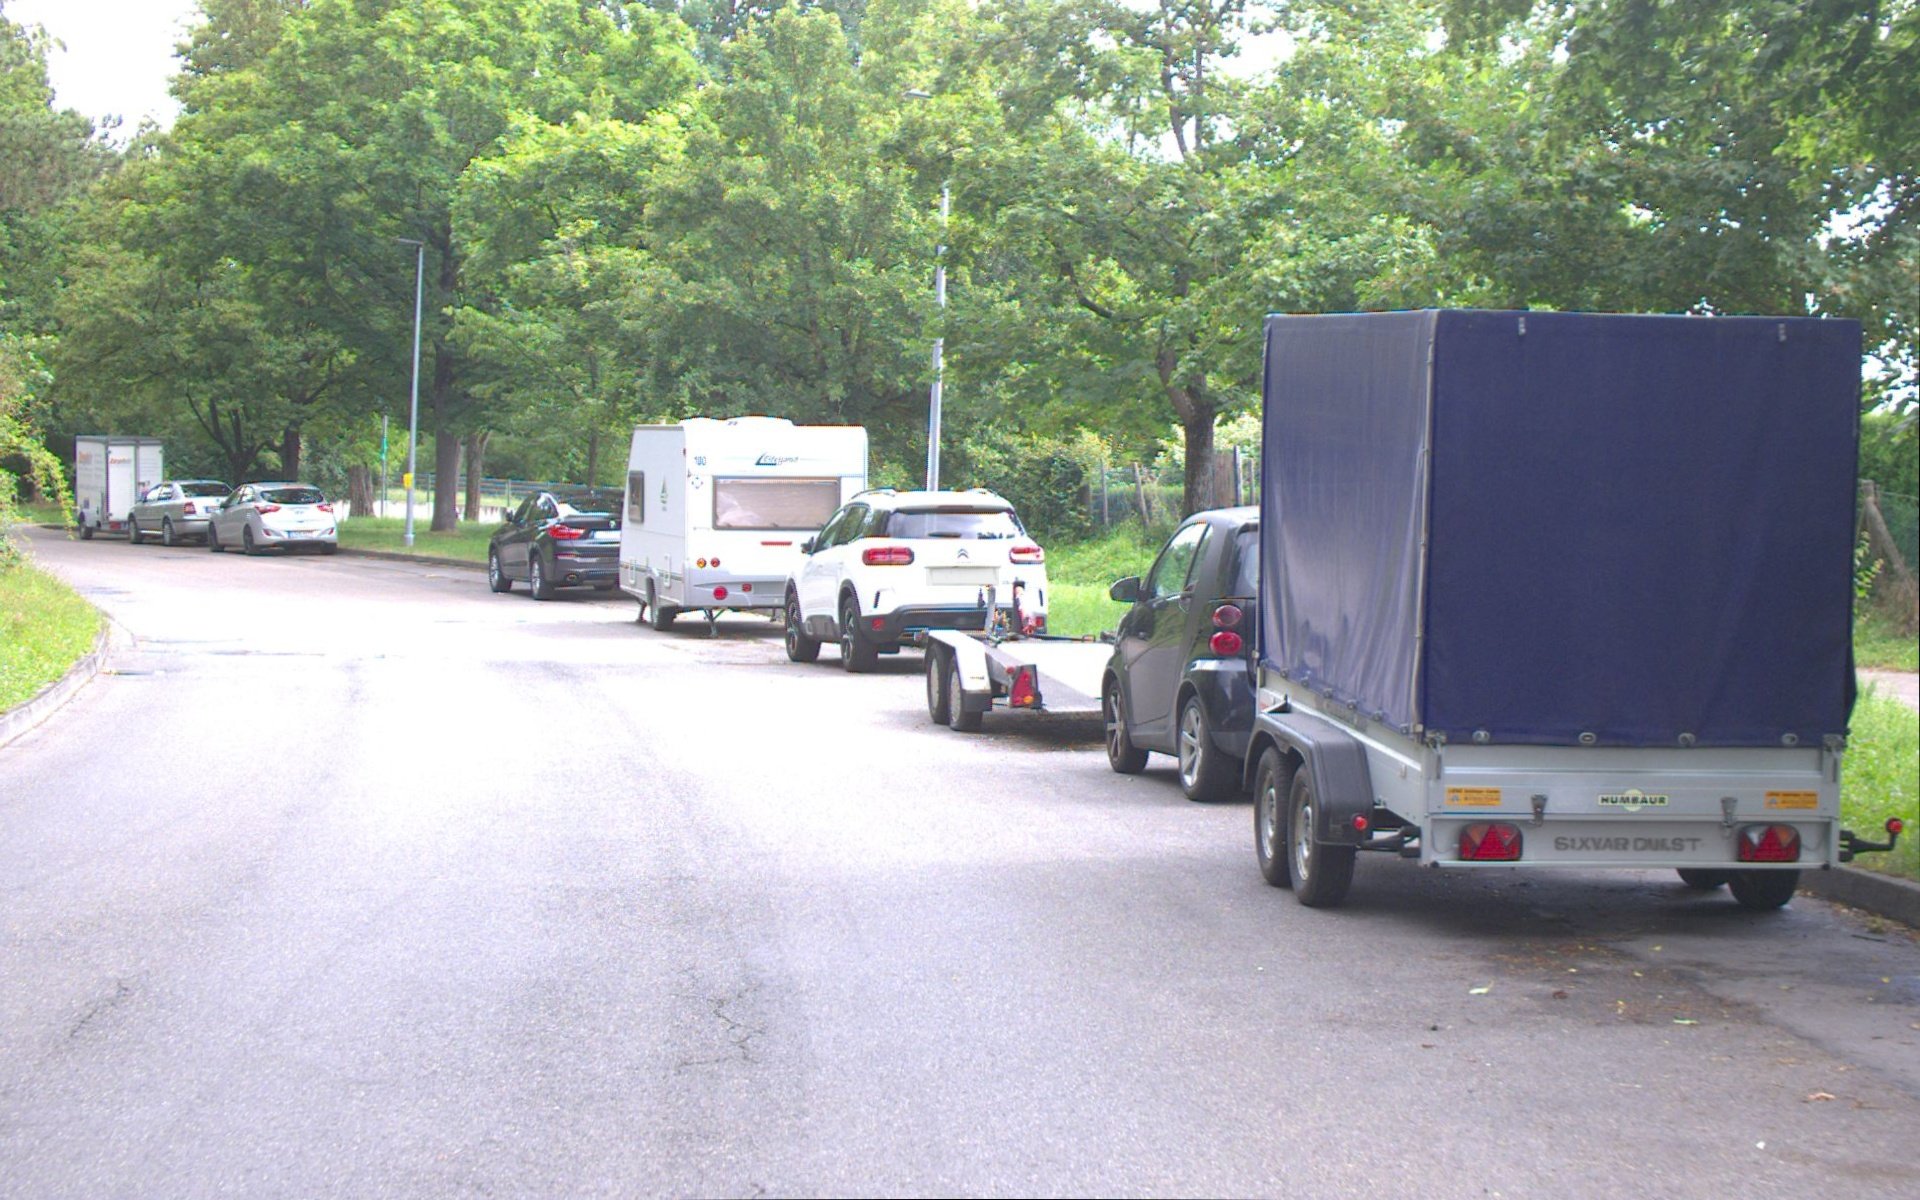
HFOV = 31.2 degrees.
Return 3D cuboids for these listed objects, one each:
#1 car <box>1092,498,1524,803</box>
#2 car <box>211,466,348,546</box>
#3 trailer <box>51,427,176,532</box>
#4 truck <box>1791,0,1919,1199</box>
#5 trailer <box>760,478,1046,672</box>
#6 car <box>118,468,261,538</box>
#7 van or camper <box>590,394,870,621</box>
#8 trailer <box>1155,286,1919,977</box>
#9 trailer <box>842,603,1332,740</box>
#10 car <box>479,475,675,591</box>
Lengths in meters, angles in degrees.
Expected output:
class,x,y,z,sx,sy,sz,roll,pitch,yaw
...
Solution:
class,x,y,z,sx,sy,sz,roll,pitch,yaw
car,1.846,0.257,19.238,1.729,1.517,3.405,1,0,-6
car,-14.016,-1.906,70.620,1.902,1.471,4.060,1,0,-24
trailer,-20.001,-2.860,81.154,1.760,2.418,3.887,-1,3,-32
truck,2.873,0.061,3.198,2.303,2.923,7.034,0,2,-2
trailer,-0.634,-0.273,33.219,1.772,1.725,4.652,-1,1,-14
car,-17.189,-2.172,76.574,1.741,1.520,4.636,-1,2,-31
van or camper,-2.925,-1.130,42.103,2.160,2.527,6.034,1,1,-16
trailer,2.156,-0.037,14.159,2.106,2.353,4.703,-1,4,-4
trailer,0.712,0.460,24.886,2.103,0.649,6.403,1,1,-11
car,-5.788,-1.029,51.541,1.848,1.637,4.532,0,2,-21
